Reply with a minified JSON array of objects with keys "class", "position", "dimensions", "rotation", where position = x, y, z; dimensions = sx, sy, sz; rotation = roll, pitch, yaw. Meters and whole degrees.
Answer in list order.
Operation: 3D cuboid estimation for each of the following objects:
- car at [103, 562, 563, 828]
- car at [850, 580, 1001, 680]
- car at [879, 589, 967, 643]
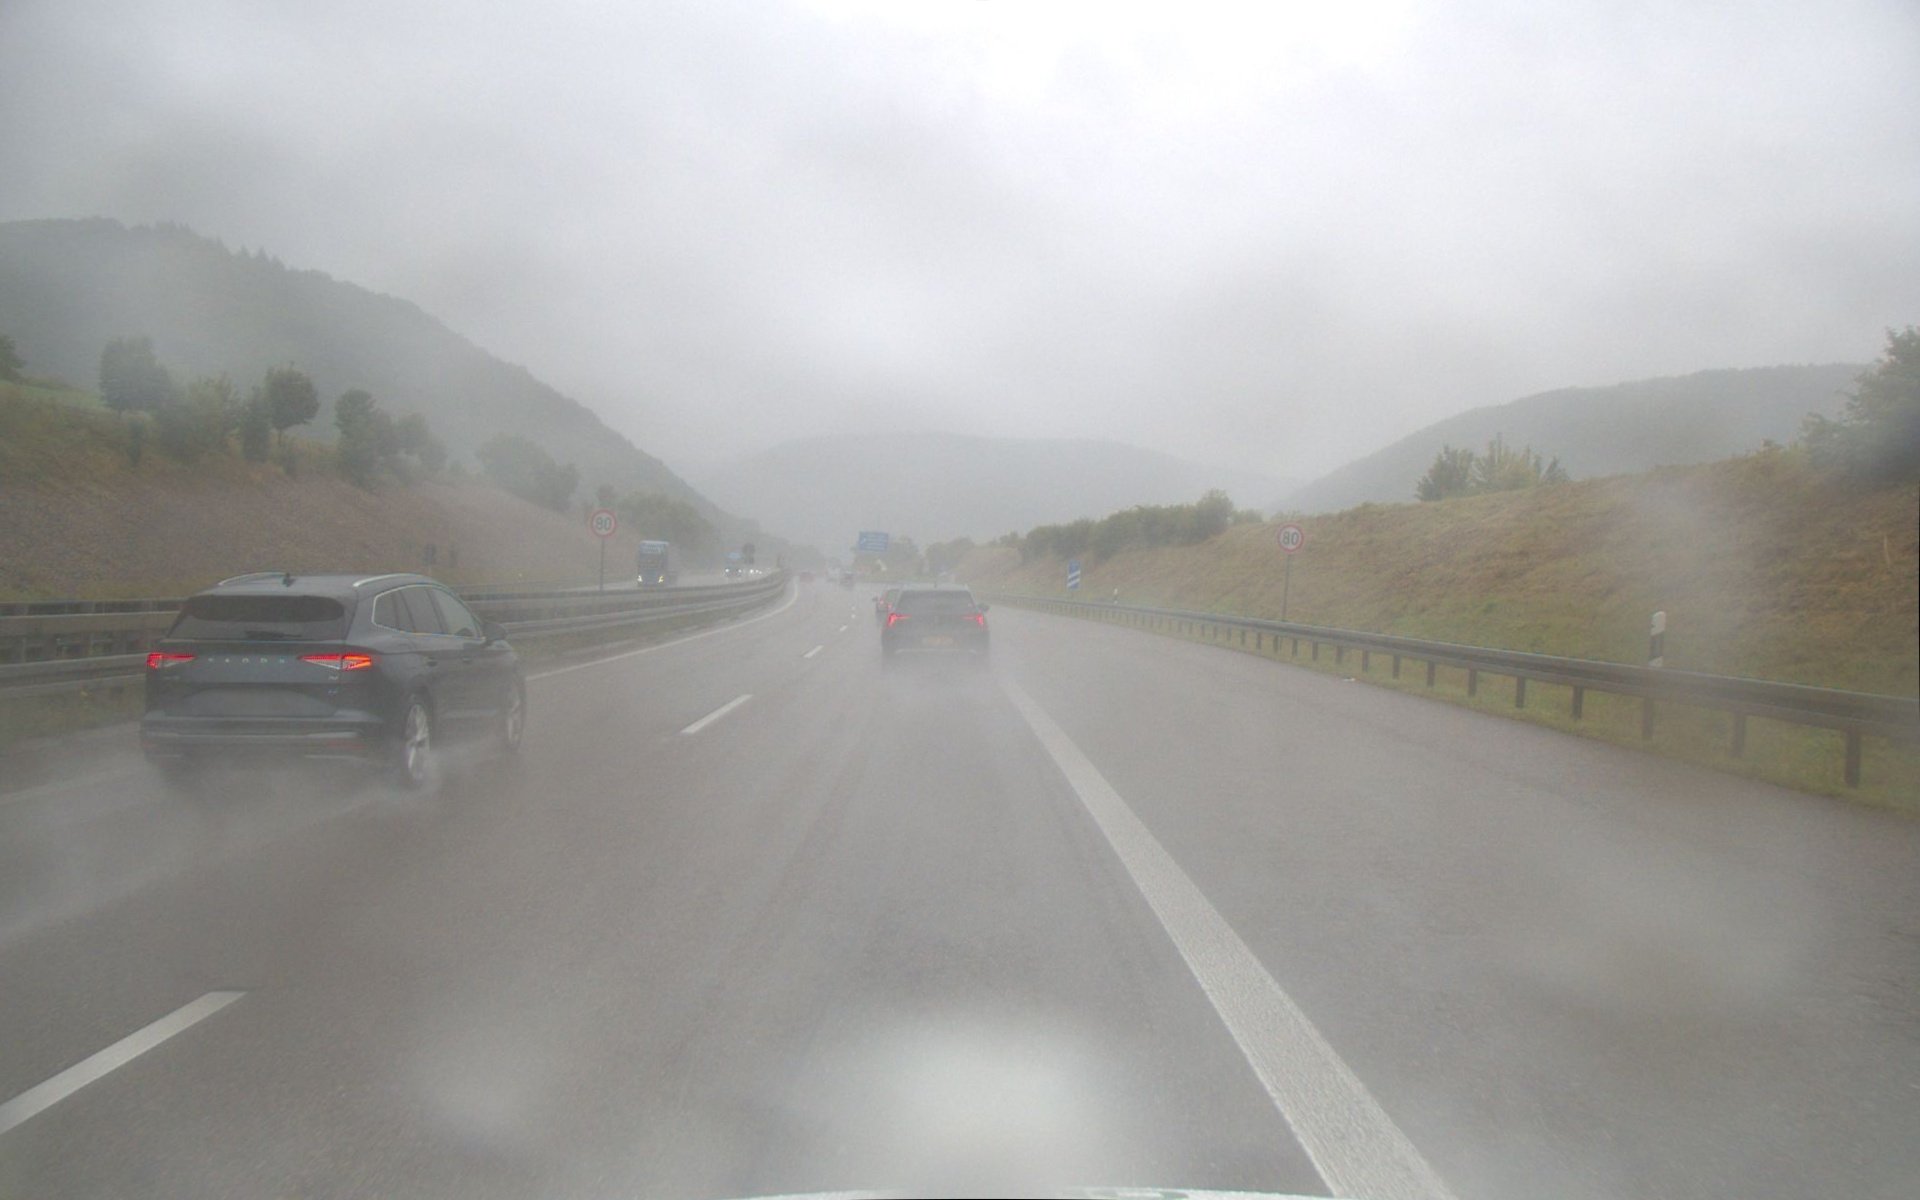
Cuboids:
[{"class":"car","position":[-4.696,0.566,13.301],"dimensions":[1.953,1.712,4.908],"rotation":[-1,1,-2]},{"class":"car","position":[-0.502,0.509,29.182],"dimensions":[2.356,1.542,4.785],"rotation":[2,-1,2]},{"class":"car","position":[-1.260,0.506,52.926],"dimensions":[2.613,1.542,5.714],"rotation":[2,-1,-3]}]
